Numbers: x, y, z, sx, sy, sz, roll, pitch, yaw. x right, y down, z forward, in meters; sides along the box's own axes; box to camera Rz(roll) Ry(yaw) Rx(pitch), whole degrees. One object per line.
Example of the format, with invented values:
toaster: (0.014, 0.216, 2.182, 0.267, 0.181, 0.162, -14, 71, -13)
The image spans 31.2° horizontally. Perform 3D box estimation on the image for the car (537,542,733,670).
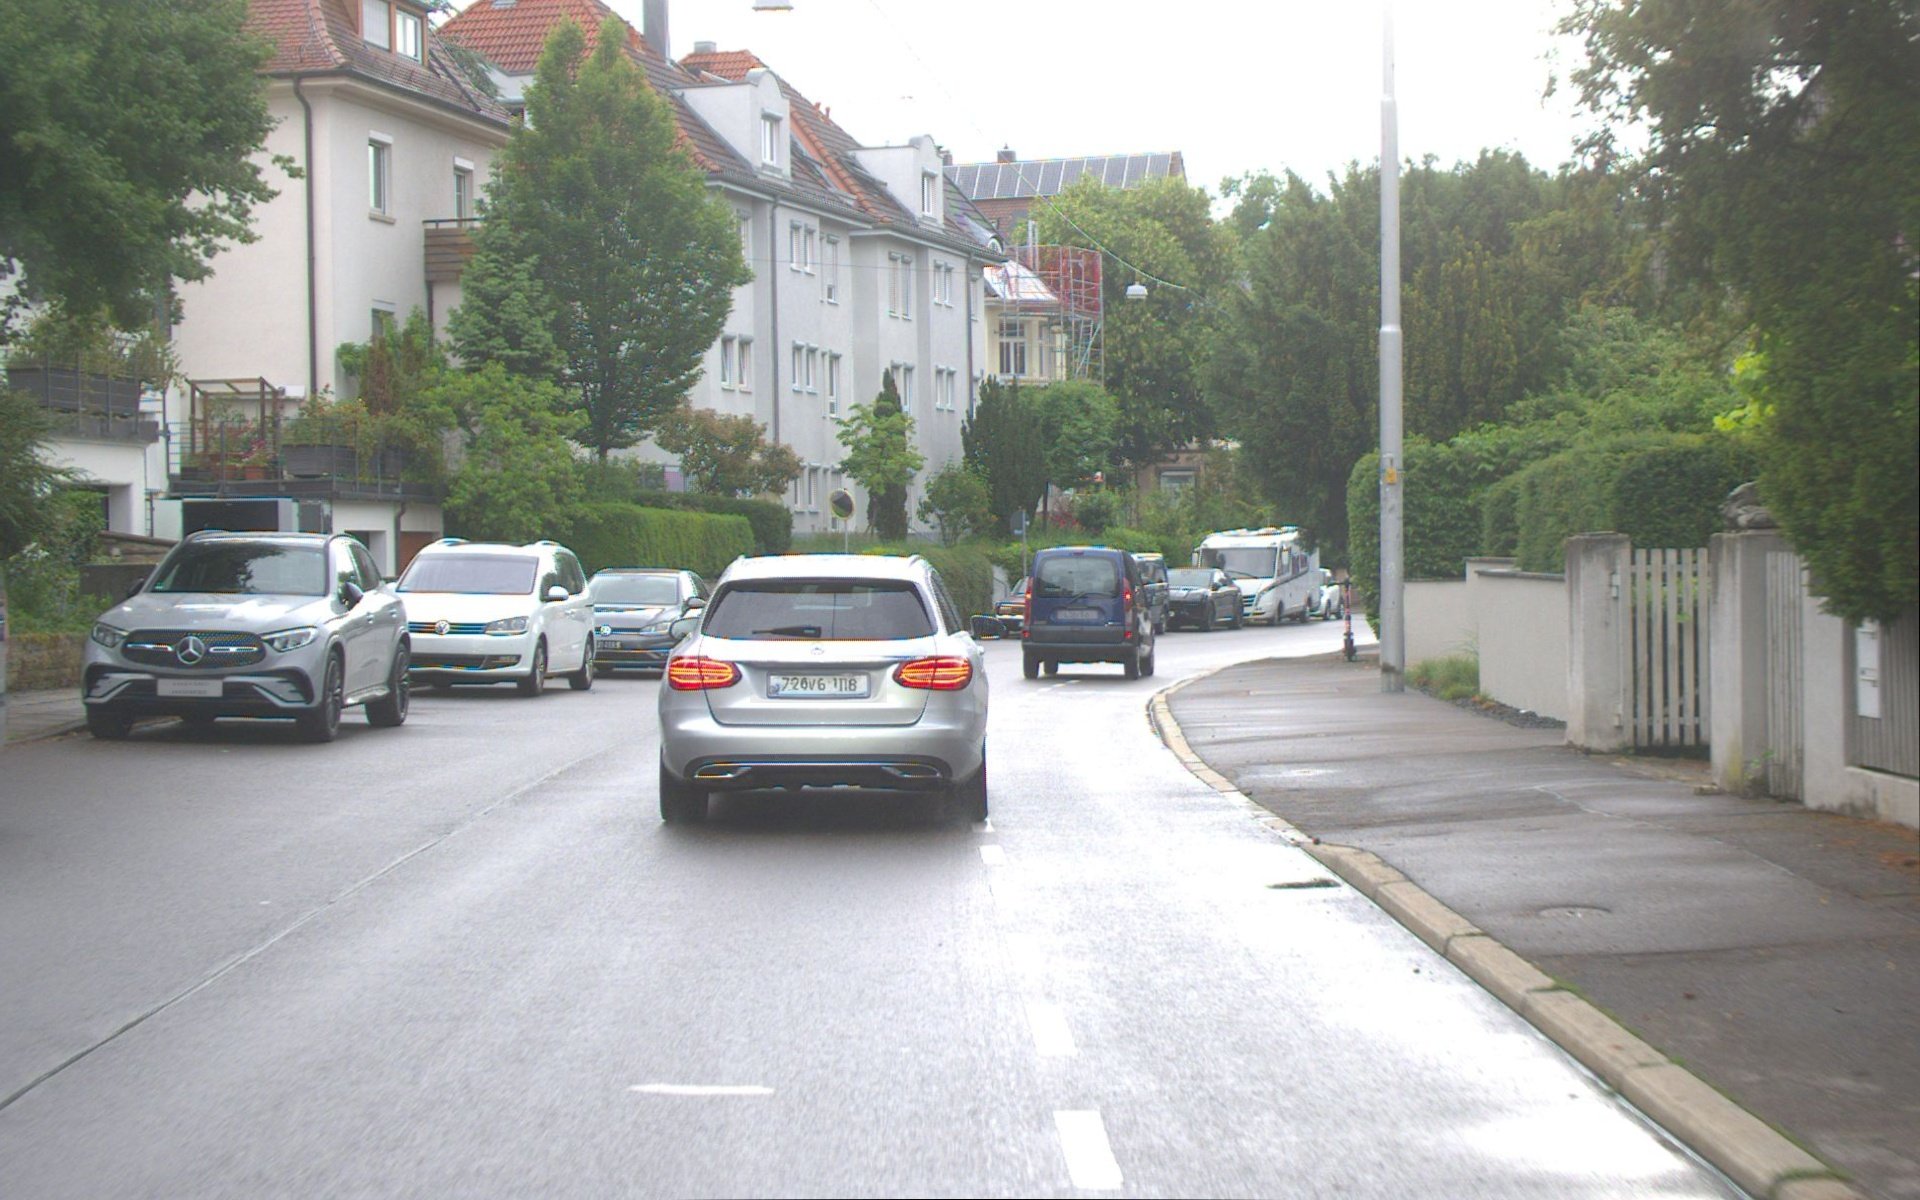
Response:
car: (-4.351, 0.050, 46.652, 1.792, 1.575, 4.137, 3, 1, 6)

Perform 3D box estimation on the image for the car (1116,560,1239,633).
car: (5.759, -0.129, 90.463, 1.995, 1.682, 4.672, 1, 3, 20)

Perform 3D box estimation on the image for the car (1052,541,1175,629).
car: (3.783, -0.360, 83.841, 1.831, 2.049, 5.006, 1, 0, 16)

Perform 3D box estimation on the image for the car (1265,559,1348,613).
car: (10.385, -0.425, 102.840, 1.714, 1.442, 3.252, 1, 3, 20)

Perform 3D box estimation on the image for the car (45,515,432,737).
car: (-5.781, 0.151, 28.179, 1.993, 1.575, 4.761, 3, 1, 1)

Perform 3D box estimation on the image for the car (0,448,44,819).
car: (-5.832, 0.187, 15.393, 1.993, 1.872, 5.357, 1, 1, 0)

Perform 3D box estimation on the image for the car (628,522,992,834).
car: (-0.778, 0.355, 19.458, 1.816, 1.551, 4.000, 1, 1, 0)

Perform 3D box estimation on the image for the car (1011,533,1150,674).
car: (1.765, 0.037, 49.181, 1.843, 1.897, 3.999, 1, 0, 4)

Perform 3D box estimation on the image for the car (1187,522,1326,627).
car: (8.482, -0.769, 97.741, 2.393, 2.762, 6.526, 1, 2, 19)

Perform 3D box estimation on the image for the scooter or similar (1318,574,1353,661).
scooter or similar: (5.746, 0.264, 52.590, 0.450, 1.303, 1.481, -1, 0, 9)

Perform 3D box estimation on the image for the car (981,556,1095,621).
car: (1.802, -0.288, 78.338, 1.644, 1.412, 4.610, 1, 1, 13)

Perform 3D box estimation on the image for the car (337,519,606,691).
car: (-5.349, 0.015, 38.280, 1.994, 1.696, 4.738, 3, 1, 3)
